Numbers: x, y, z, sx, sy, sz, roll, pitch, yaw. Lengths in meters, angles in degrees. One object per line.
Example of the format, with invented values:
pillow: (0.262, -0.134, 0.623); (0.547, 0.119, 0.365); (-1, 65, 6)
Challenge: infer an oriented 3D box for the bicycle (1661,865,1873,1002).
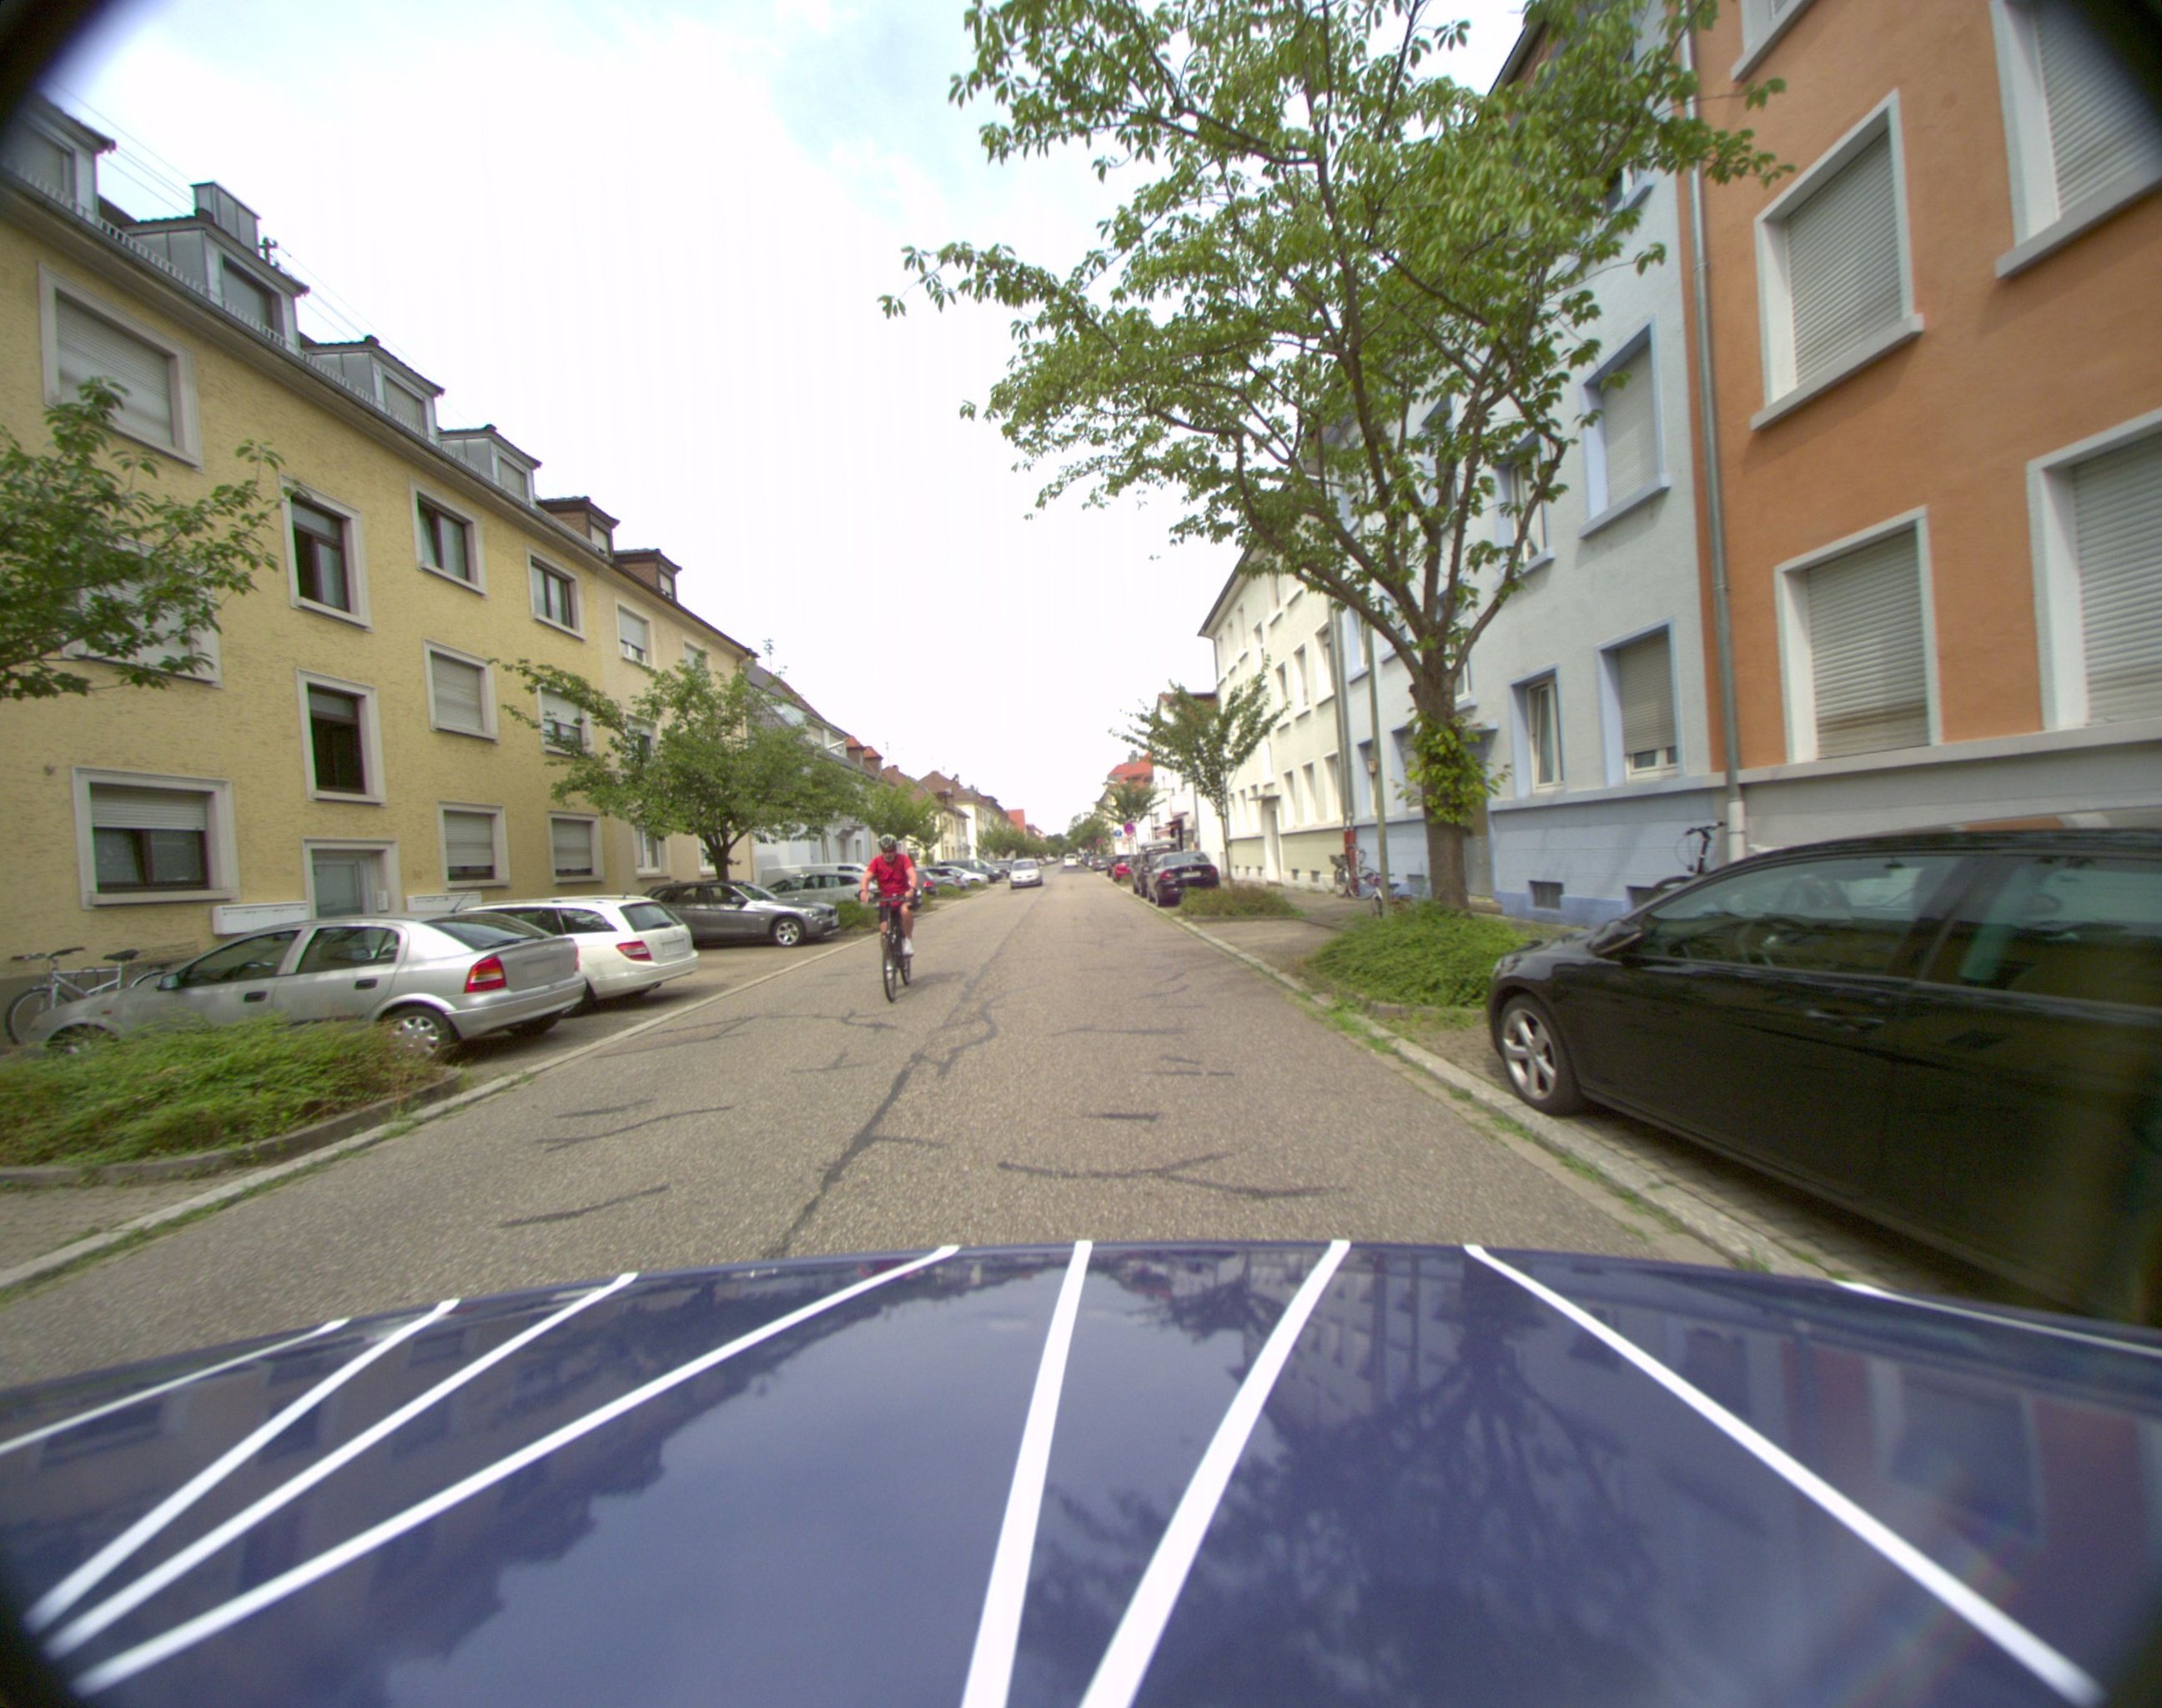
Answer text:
bicycle: (5.797, 0.613, 6.537); (0.368, 0.990, 1.569); (-3, 1, -1)

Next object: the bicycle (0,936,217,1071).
bicycle: (-11.444, 1.668, 8.865); (0.587, 1.192, 1.875); (-2, 1, -3)

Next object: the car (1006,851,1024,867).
car: (-7.290, 0.548, 83.752); (1.646, 1.666, 3.443); (-4, 0, -1)

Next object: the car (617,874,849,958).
car: (-7.692, 1.346, 17.122); (4.318, 1.588, 1.850); (-2, 1, -1)

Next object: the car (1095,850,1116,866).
car: (2.247, 0.368, 71.062); (1.711, 1.438, 3.442); (-2, 1, -3)

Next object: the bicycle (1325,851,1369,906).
bicycle: (5.693, 0.490, 16.339); (0.368, 1.107, 1.538); (-2, 1, -1)

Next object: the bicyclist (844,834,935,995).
bicyclist: (-2.241, 0.679, 9.004); (0.694, 1.760, 0.986); (-4, 1, -1)

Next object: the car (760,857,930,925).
car: (-7.403, 1.130, 24.171); (4.751, 1.899, 1.850); (-2, 1, -1)

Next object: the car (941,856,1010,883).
car: (-7.638, 1.120, 55.502); (4.720, 1.817, 1.870); (-2, 1, -1)

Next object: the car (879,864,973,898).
car: (-7.780, 1.343, 38.385); (4.404, 1.491, 1.710); (-2, 1, -2)

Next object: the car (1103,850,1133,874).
car: (2.499, 0.529, 52.351); (1.711, 1.477, 3.442); (-2, 1, -3)

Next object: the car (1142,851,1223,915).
car: (2.841, 0.751, 22.135); (1.706, 1.533, 4.248); (-5, 1, 0)

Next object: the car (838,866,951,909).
car: (-7.450, 1.320, 30.618); (4.120, 1.527, 1.710); (-2, 1, -2)

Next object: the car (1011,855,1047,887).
car: (-2.985, 0.950, 44.616); (1.788, 1.595, 4.835); (-4, 1, -1)

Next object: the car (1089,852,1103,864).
car: (1.963, 0.537, 99.320); (1.711, 1.495, 3.442); (-2, 1, -1)

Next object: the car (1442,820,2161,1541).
car: (3.202, 0.693, 2.501); (1.841, 1.475, 4.092); (-5, 1, -2)

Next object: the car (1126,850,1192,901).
car: (2.762, 0.721, 27.734); (1.697, 1.573, 4.248); (-5, 1, -2)

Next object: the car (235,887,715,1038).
car: (-7.469, 1.300, 9.778); (4.559, 1.501, 1.850); (-2, 1, -3)

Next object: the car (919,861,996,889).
car: (-7.628, 1.286, 47.256); (4.404, 1.527, 1.870); (-2, 1, -1)

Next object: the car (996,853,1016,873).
car: (-7.539, 0.922, 76.603); (1.646, 1.817, 3.443); (-4, 0, -1)

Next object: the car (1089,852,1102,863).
car: (2.067, 0.476, 107.160); (1.626, 1.495, 3.442); (-2, 1, -1)

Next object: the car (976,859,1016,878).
car: (-7.811, 1.305, 70.192); (3.442, 1.438, 1.646); (-4, 0, -4)

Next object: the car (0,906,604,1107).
car: (-7.282, 1.346, 7.330); (4.104, 1.406, 1.850); (-2, 1, -3)

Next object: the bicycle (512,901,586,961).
bicycle: (-11.627, 1.658, 16.662); (0.480, 1.133, 1.635); (-2, 1, -3)

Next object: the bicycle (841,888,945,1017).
bicycle: (-2.182, 1.101, 9.100); (0.693, 1.220, 1.936); (-4, 1, -1)

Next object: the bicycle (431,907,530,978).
bicycle: (-11.605, 1.676, 14.765); (0.538, 1.133, 1.755); (-2, 1, -3)

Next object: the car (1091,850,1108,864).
car: (1.995, 0.311, 83.842); (1.711, 1.495, 3.442); (-2, 1, -1)

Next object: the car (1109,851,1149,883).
car: (2.631, 0.674, 42.369); (1.711, 1.591, 4.115); (-2, 1, -3)

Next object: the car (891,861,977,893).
car: (-8.298, 1.300, 43.221); (4.402, 1.603, 1.871); (-2, 1, 5)

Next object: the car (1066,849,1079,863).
car: (-1.240, 0.279, 112.744); (1.757, 2.098, 3.620); (-2, 1, -1)

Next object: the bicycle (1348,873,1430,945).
bicycle: (4.475, 0.769, 11.146); (0.414, 0.868, 1.538); (-11, 1, -1)

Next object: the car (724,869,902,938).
car: (-7.477, 1.359, 21.484); (4.318, 1.674, 1.850); (-2, 0, -1)

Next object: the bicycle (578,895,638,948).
bicycle: (-11.635, 1.637, 18.738); (0.480, 1.133, 1.635); (-2, 1, -3)
